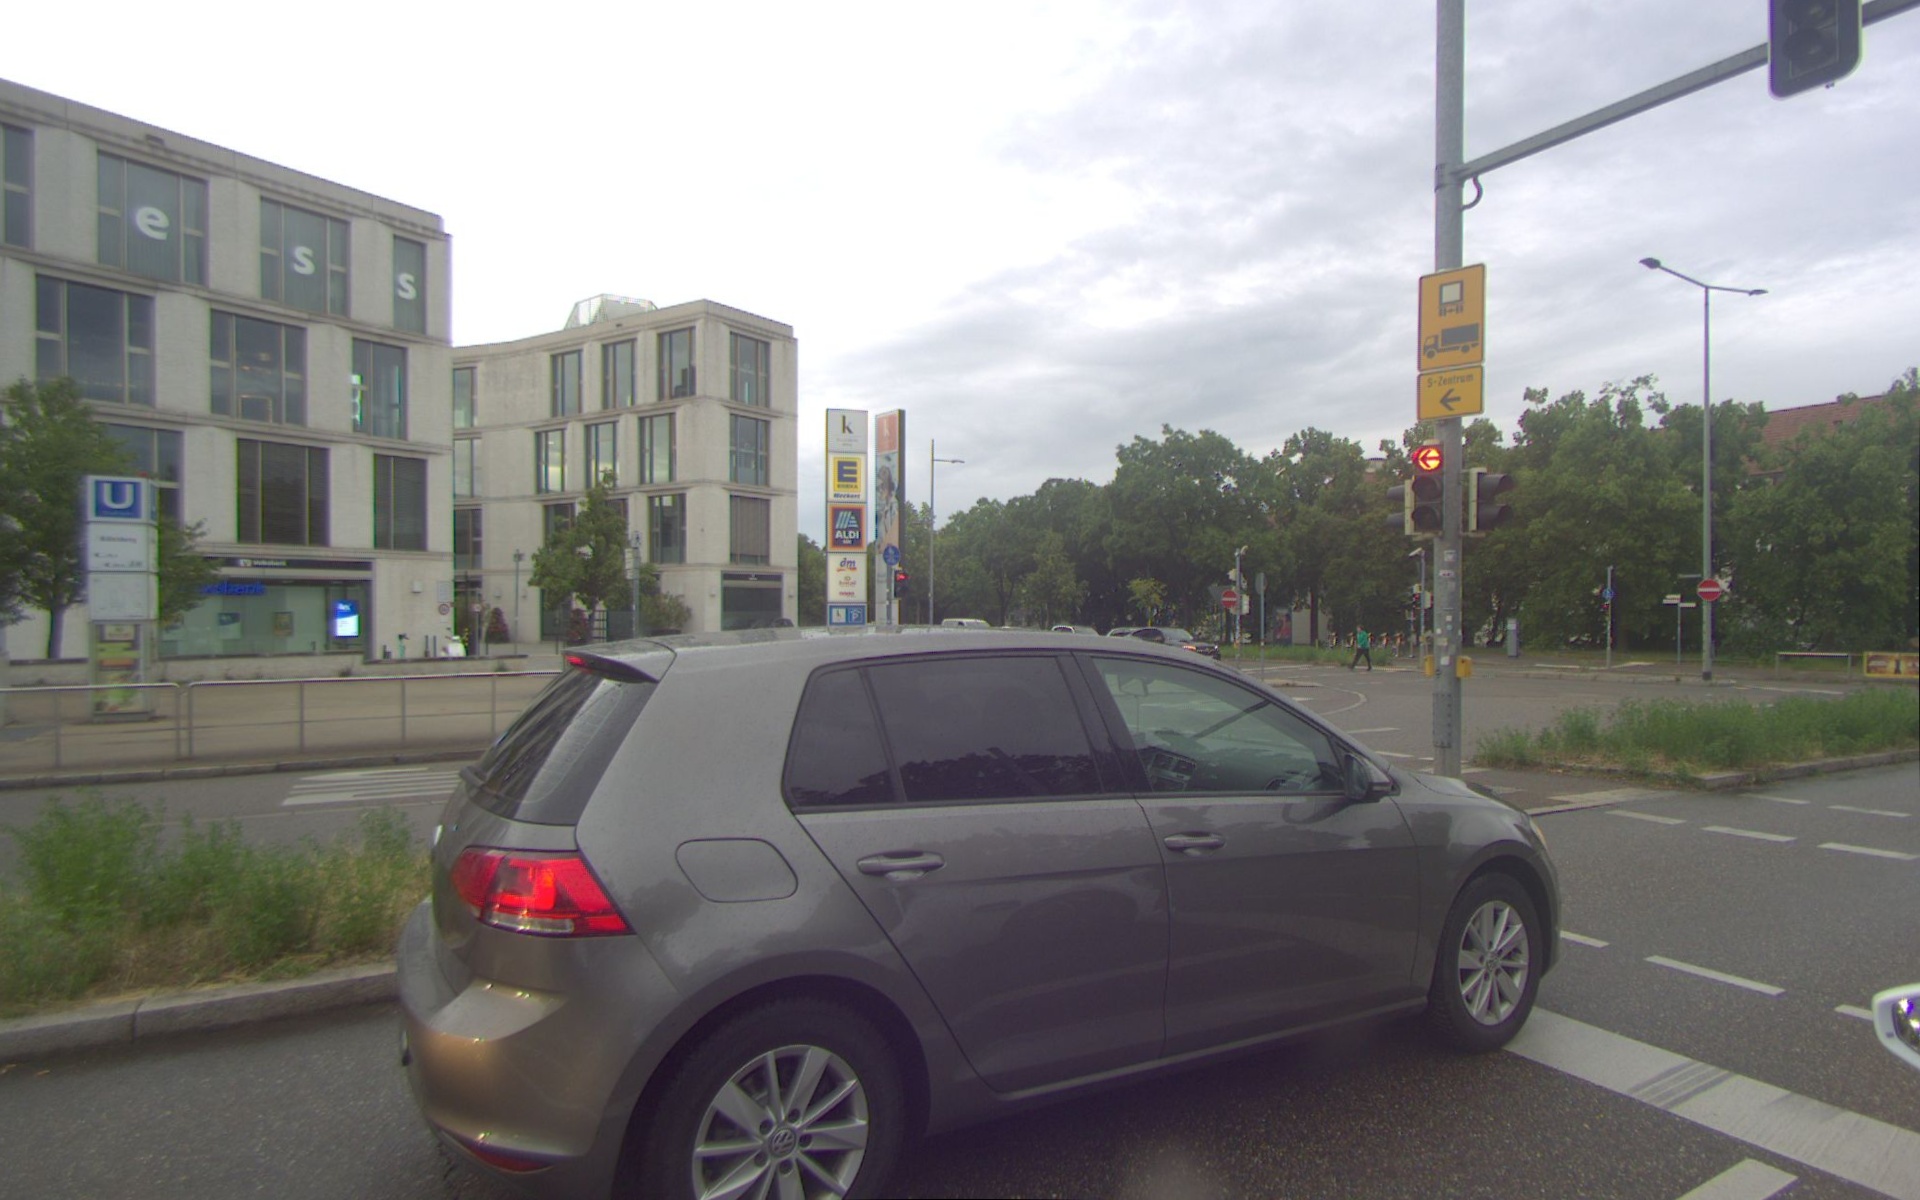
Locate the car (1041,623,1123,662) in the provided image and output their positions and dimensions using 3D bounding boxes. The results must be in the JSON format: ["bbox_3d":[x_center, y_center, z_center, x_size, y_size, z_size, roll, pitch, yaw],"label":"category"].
[{"bbox_3d":[5.554,1.912,46.026,1.976,1.615,3.536,2,0,-30],"label":"car"}]

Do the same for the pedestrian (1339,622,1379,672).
[{"bbox_3d":[14.550,1.699,36.627,0.933,1.750,0.920,2,0,-23],"label":"pedestrian"}]

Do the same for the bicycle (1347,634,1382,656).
[{"bbox_3d":[21.369,2.380,53.035,1.959,1.085,0.649,2,0,-30],"label":"bicycle"}]

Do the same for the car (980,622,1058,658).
[{"bbox_3d":[2.934,1.999,50.921,1.976,1.615,4.185,2,0,-29],"label":"car"}]

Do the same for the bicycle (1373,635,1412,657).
[{"bbox_3d":[22.241,2.363,51.651,1.959,1.085,0.798,2,0,-30],"label":"bicycle"}]

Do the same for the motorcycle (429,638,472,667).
[{"bbox_3d":[-14.149,1.452,27.904,1.081,0.750,0.522,2,0,29],"label":"motorcycle"}]

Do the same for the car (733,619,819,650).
[{"bbox_3d":[-9.189,1.722,50.317,1.968,1.483,3.985,0,-2,37],"label":"car"}]

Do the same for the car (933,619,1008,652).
[{"bbox_3d":[0.529,1.949,55.404,1.976,1.615,4.855,2,0,-29],"label":"car"}]

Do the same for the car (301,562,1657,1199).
[{"bbox_3d":[0.352,0.752,3.520,4.325,1.501,1.807,2,-1,-30],"label":"car"}]

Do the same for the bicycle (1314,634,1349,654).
[{"bbox_3d":[20.265,2.405,54.765,1.959,1.085,0.649,2,0,-30],"label":"bicycle"}]

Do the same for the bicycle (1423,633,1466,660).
[{"bbox_3d":[23.757,2.288,49.263,1.959,1.266,0.986,2,0,-30],"label":"bicycle"}]

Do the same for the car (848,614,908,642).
[{"bbox_3d":[-5.462,1.823,66.111,1.977,1.615,4.852,2,0,-31],"label":"car"}]

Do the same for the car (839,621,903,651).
[{"bbox_3d":[-5.332,2.117,59.697,1.976,1.615,4.855,2,0,-29],"label":"car"}]

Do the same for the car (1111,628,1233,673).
[{"bbox_3d":[8.393,1.967,40.240,1.976,1.520,5.001,2,0,-29],"label":"car"}]

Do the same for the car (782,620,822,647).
[{"bbox_3d":[-12.697,2.673,80.581,1.976,2.040,3.969,1,-1,-29],"label":"car"}]

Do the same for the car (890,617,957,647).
[{"bbox_3d":[-2.260,1.891,60.392,1.976,1.615,4.855,2,0,-29],"label":"car"}]

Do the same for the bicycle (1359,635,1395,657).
[{"bbox_3d":[21.670,2.397,52.175,1.959,1.085,0.649,2,0,-30],"label":"bicycle"}]

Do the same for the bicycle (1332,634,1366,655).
[{"bbox_3d":[20.936,2.391,54.036,1.959,1.085,0.649,2,0,-30],"label":"bicycle"}]
